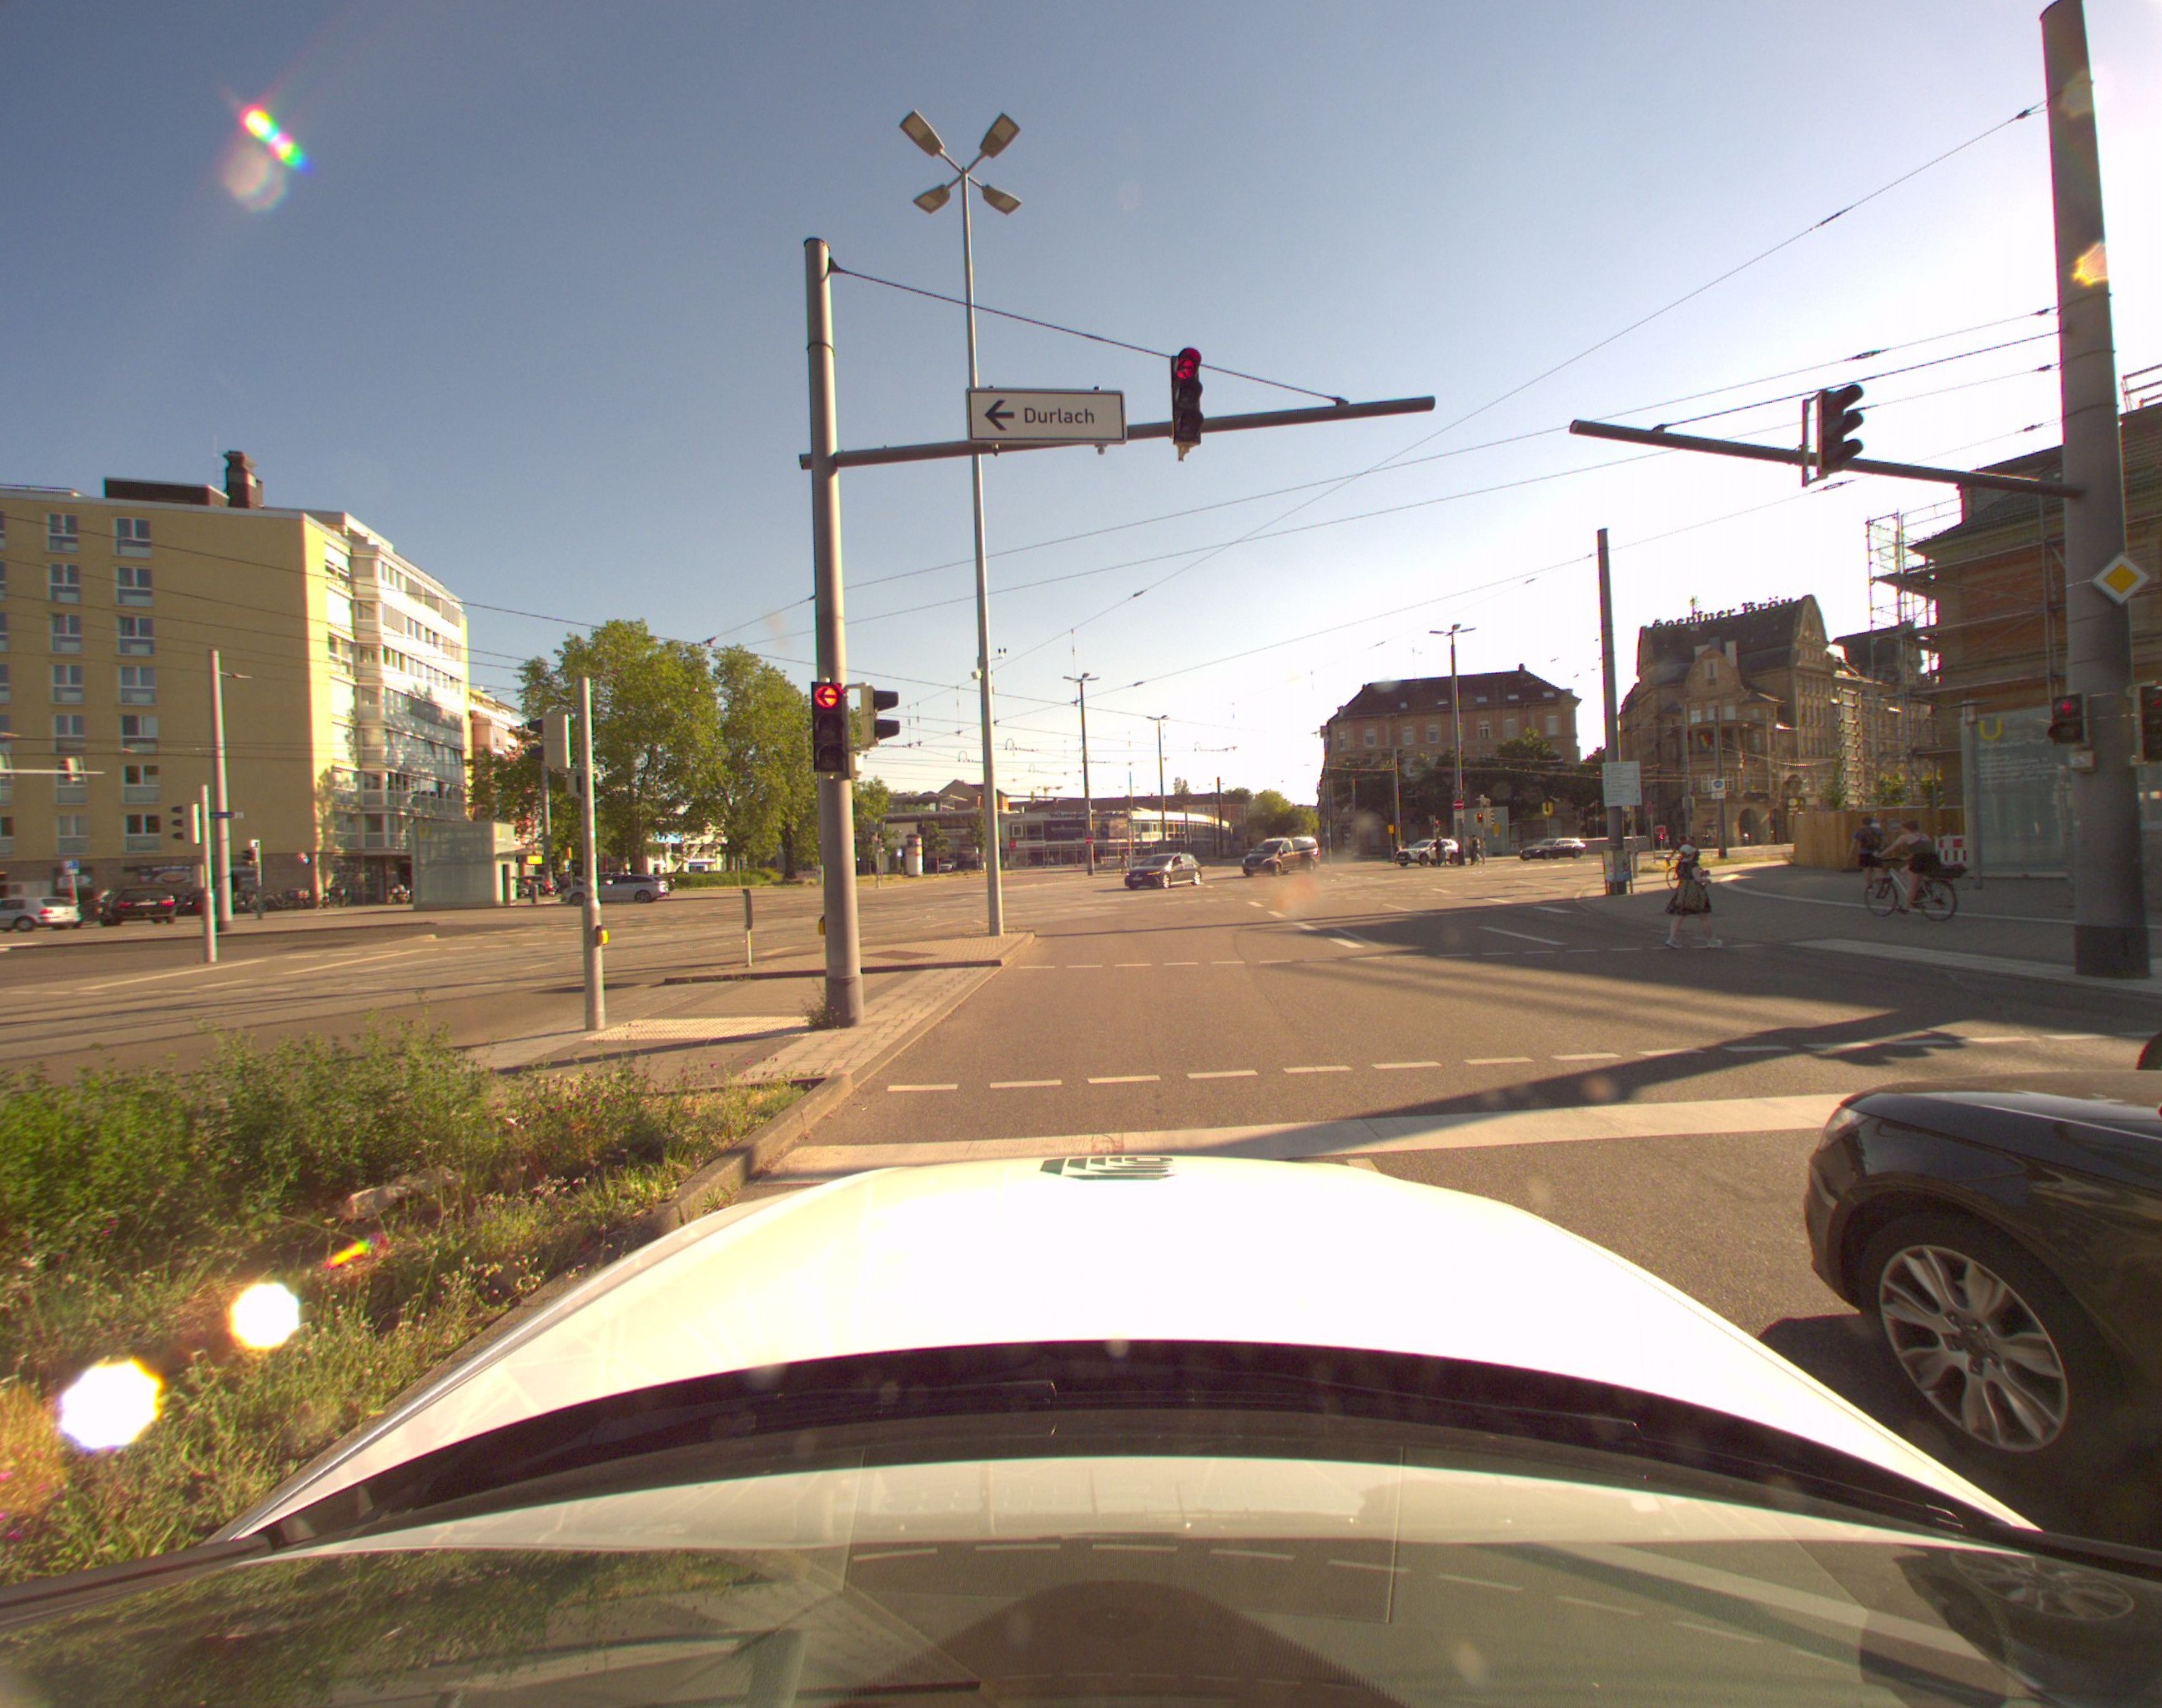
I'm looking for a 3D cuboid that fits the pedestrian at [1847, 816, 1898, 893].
[{"bbox_3d":[17.992,0.005,18.528,0.690,1.671,0.834,-4,-1,40],"label":"pedestrian"}]

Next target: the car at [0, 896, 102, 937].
[{"bbox_3d":[-43.123,2.564,32.929,4.104,1.452,1.943,-2,0,-17],"label":"car"}]

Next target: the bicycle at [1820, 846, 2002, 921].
[{"bbox_3d":[14.433,0.479,14.283,0.775,1.156,2.291,-5,0,0],"label":"bicycle"}]

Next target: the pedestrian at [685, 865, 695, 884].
[{"bbox_3d":[-41.162,2.142,85.800,0.586,2.013,0.711,-2,0,1],"label":"pedestrian"}]

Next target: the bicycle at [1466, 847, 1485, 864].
[{"bbox_3d":[23.268,0.059,48.040,0.850,0.905,2.316,-1,2,21],"label":"bicycle"}]

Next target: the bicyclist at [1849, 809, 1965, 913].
[{"bbox_3d":[14.402,0.119,14.233,0.775,1.677,1.093,-5,0,0],"label":"bicyclist"}]

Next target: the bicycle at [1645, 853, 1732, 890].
[{"bbox_3d":[16.546,0.485,22.270,0.717,0.952,2.250,-1,-2,2],"label":"bicycle"}]

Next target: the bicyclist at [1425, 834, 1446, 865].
[{"bbox_3d":[20.843,-0.275,47.879,0.586,1.778,0.859,-2,-1,-28],"label":"bicyclist"}]

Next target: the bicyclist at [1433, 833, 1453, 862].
[{"bbox_3d":[21.410,-0.386,48.172,0.653,1.690,0.852,-2,1,-29],"label":"bicyclist"}]

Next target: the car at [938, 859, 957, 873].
[{"bbox_3d":[-16.575,1.485,101.349,1.990,1.534,3.995,-1,2,-4],"label":"car"}]

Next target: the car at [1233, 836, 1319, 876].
[{"bbox_3d":[10.425,0.085,43.343,4.876,1.893,1.930,-2,0,-41],"label":"car"}]

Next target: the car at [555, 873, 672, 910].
[{"bbox_3d":[-22.409,1.781,39.265,4.559,1.517,1.940,-2,0,-20],"label":"car"}]

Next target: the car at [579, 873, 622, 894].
[{"bbox_3d":[-37.456,2.282,63.576,1.850,1.452,3.980,-2,0,-14],"label":"car"}]

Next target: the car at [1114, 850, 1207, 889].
[{"bbox_3d":[3.460,0.635,34.906,1.928,1.486,4.128,-2,0,40],"label":"car"}]

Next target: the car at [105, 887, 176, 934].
[{"bbox_3d":[-43.640,2.569,37.774,3.948,1.857,1.865,0,2,38],"label":"car"}]

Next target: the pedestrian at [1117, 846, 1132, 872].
[{"bbox_3d":[3.103,0.344,58.433,0.986,1.816,0.920,-1,1,0],"label":"pedestrian"}]

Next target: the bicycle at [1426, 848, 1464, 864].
[{"bbox_3d":[21.544,0.113,48.249,2.310,0.905,0.852,-2,2,-30],"label":"bicycle"}]

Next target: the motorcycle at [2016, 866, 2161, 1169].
[{"bbox_3d":[5.464,0.742,2.978,1.091,1.377,2.655,-1,-1,3],"label":"motorcycle"}]

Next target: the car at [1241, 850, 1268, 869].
[{"bbox_3d":[15.389,0.487,72.466,1.937,1.594,4.625,-2,0,7],"label":"car"}]

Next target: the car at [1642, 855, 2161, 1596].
[{"bbox_3d":[3.028,0.732,1.086,1.795,1.444,3.977,-1,0,-1],"label":"car"}]

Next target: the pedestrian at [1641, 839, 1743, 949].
[{"bbox_3d":[9.381,0.589,12.520,1.092,1.606,0.697,-1,1,-9],"label":"pedestrian"}]

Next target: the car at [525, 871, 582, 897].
[{"bbox_3d":[-45.046,2.538,69.637,4.016,1.857,1.834,-2,2,-33],"label":"car"}]

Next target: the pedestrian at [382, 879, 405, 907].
[{"bbox_3d":[-42.179,2.392,49.940,0.777,1.676,0.778,-2,0,-15],"label":"pedestrian"}]

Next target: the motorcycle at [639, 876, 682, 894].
[{"bbox_3d":[-26.470,1.942,51.313,2.286,1.054,0.685,-2,1,-12],"label":"motorcycle"}]

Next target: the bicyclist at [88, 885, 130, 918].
[{"bbox_3d":[-48.670,2.365,40.781,0.925,1.559,0.958,-2,0,-14],"label":"bicyclist"}]

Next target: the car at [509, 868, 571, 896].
[{"bbox_3d":[-42.886,2.176,64.613,4.015,2.013,1.979,-2,0,-33],"label":"car"}]

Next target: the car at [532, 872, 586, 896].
[{"bbox_3d":[-47.167,2.701,73.686,4.016,1.857,1.834,-2,2,-33],"label":"car"}]

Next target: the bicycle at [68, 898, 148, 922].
[{"bbox_3d":[-48.646,2.799,40.757,2.441,1.003,0.958,-2,0,-14],"label":"bicycle"}]

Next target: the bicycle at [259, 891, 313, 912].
[{"bbox_3d":[-45.287,2.701,46.418,2.047,1.090,0.772,-2,0,-18],"label":"bicycle"}]

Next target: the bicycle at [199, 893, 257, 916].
[{"bbox_3d":[-47.070,2.782,44.941,2.047,1.090,0.772,-2,0,-18],"label":"bicycle"}]

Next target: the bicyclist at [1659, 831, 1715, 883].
[{"bbox_3d":[16.539,0.095,22.249,0.717,1.384,1.076,-1,-2,2],"label":"bicyclist"}]

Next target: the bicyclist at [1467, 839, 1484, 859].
[{"bbox_3d":[23.263,-0.292,48.055,0.850,1.176,0.719,-1,1,21],"label":"bicyclist"}]

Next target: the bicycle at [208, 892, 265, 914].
[{"bbox_3d":[-47.407,2.767,45.744,2.047,1.090,0.772,-2,0,-18],"label":"bicycle"}]

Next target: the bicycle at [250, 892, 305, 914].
[{"bbox_3d":[-44.992,2.717,45.627,2.047,1.090,0.772,-2,0,-18],"label":"bicycle"}]

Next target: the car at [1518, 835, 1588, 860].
[{"bbox_3d":[32.204,-0.451,55.556,4.361,1.563,1.937,-2,2,-23],"label":"car"}]

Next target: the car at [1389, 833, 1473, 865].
[{"bbox_3d":[21.836,-0.302,50.765,4.855,1.799,1.939,-2,0,-23],"label":"car"}]

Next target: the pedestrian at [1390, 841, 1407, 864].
[{"bbox_3d":[23.799,-0.112,60.978,0.921,1.676,0.783,-2,0,1],"label":"pedestrian"}]
